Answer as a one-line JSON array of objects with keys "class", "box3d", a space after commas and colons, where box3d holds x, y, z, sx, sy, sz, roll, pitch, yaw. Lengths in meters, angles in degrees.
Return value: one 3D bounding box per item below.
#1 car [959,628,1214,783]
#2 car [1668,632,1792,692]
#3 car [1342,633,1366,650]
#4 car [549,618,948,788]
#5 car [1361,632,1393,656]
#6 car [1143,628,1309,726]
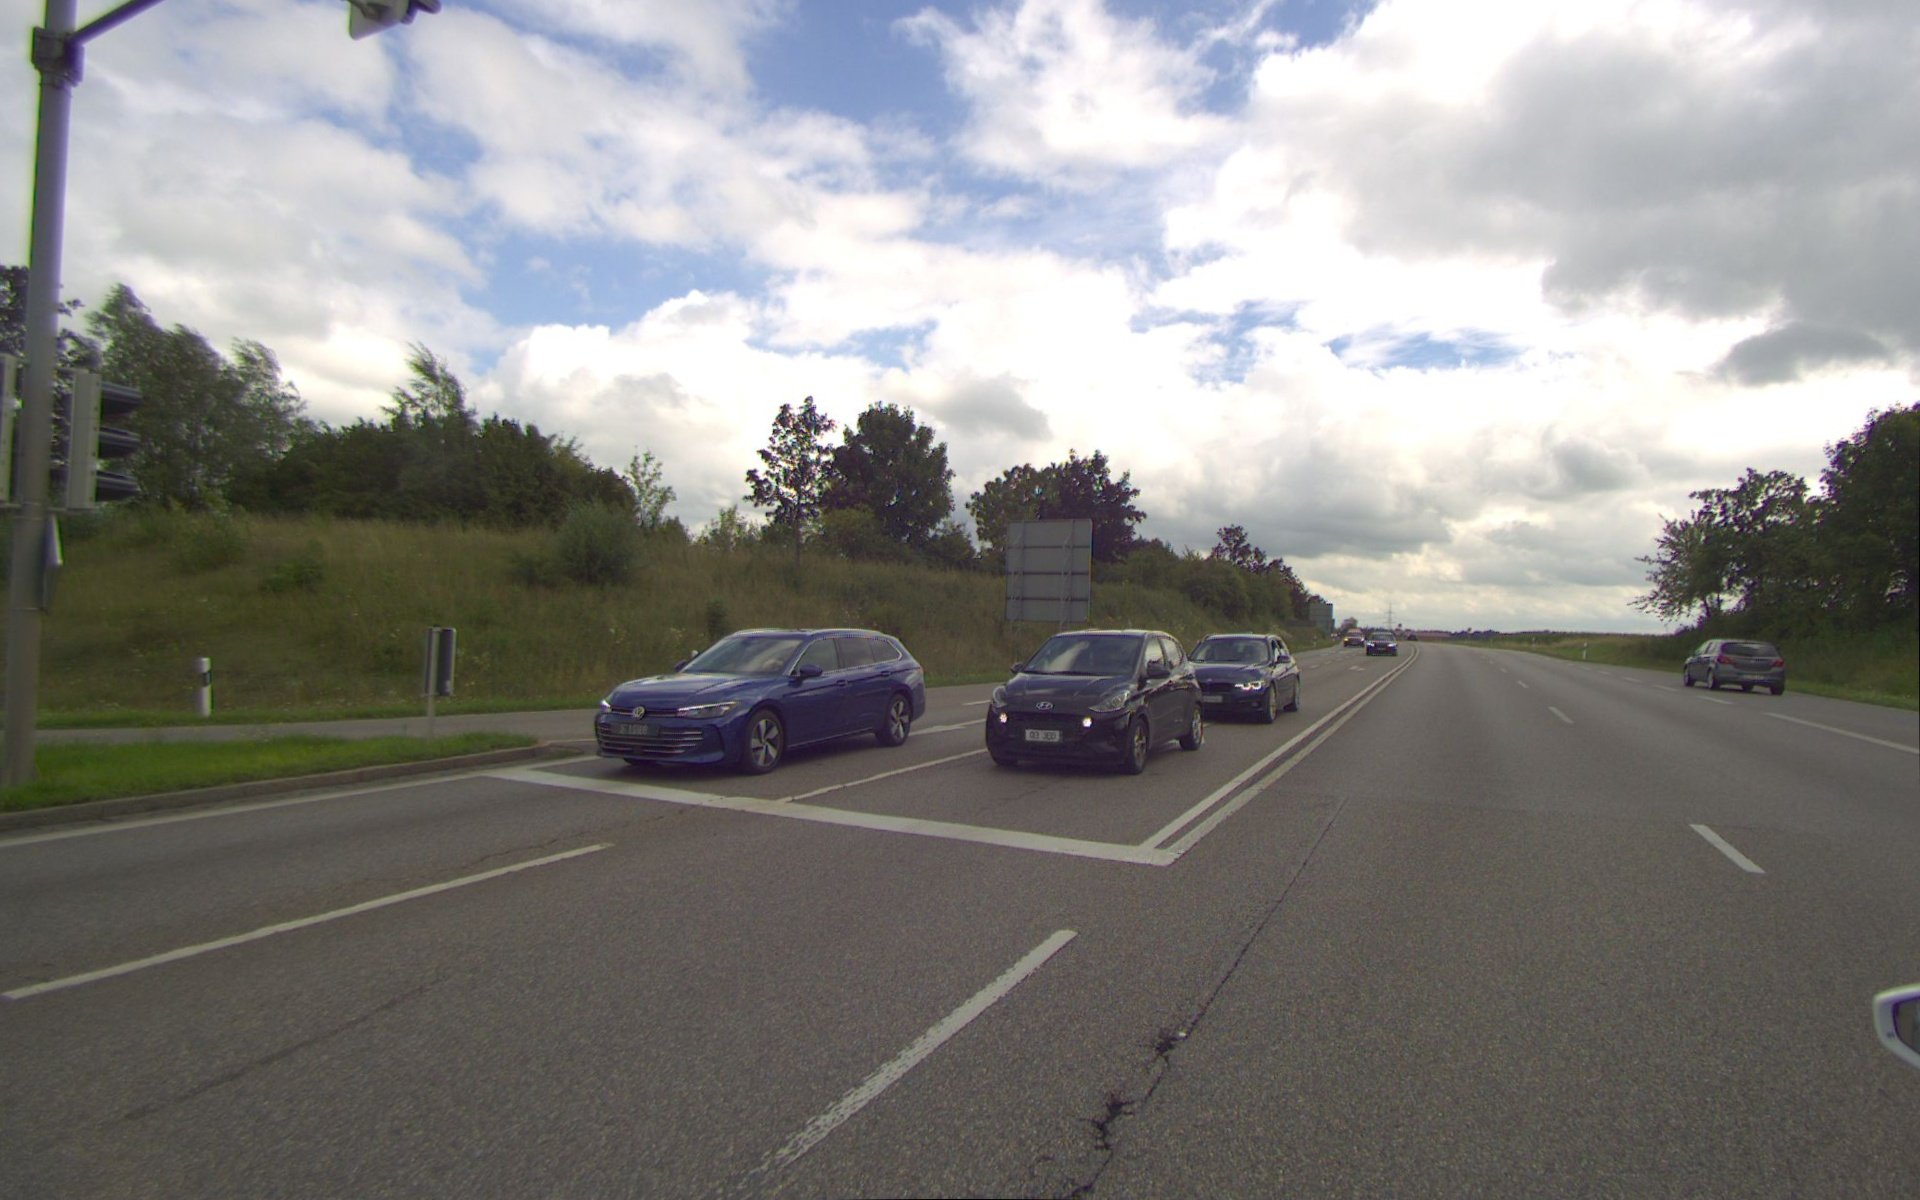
[{"class": "car", "box3d": [1.648, 1.068, 11.742, 1.700, 1.462, 3.939, 0, -1, 27]}, {"class": "car", "box3d": [22.630, 1.772, 29.690, 1.962, 1.555, 3.998, 1, -1, 24]}, {"class": "car", "box3d": [37.417, 3.929, 95.333, 1.961, 1.514, 4.991, 0, -1, 23]}, {"class": "car", "box3d": [-2.158, 1.030, 12.052, 2.013, 1.555, 5.123, 0, -1, 25]}, {"class": "car", "box3d": [26.593, 2.782, 63.961, 1.737, 1.401, 4.541, 0, -1, 25]}, {"class": "car", "box3d": [4.960, 1.270, 18.187, 2.017, 1.503, 4.877, -1, -2, 26]}]
